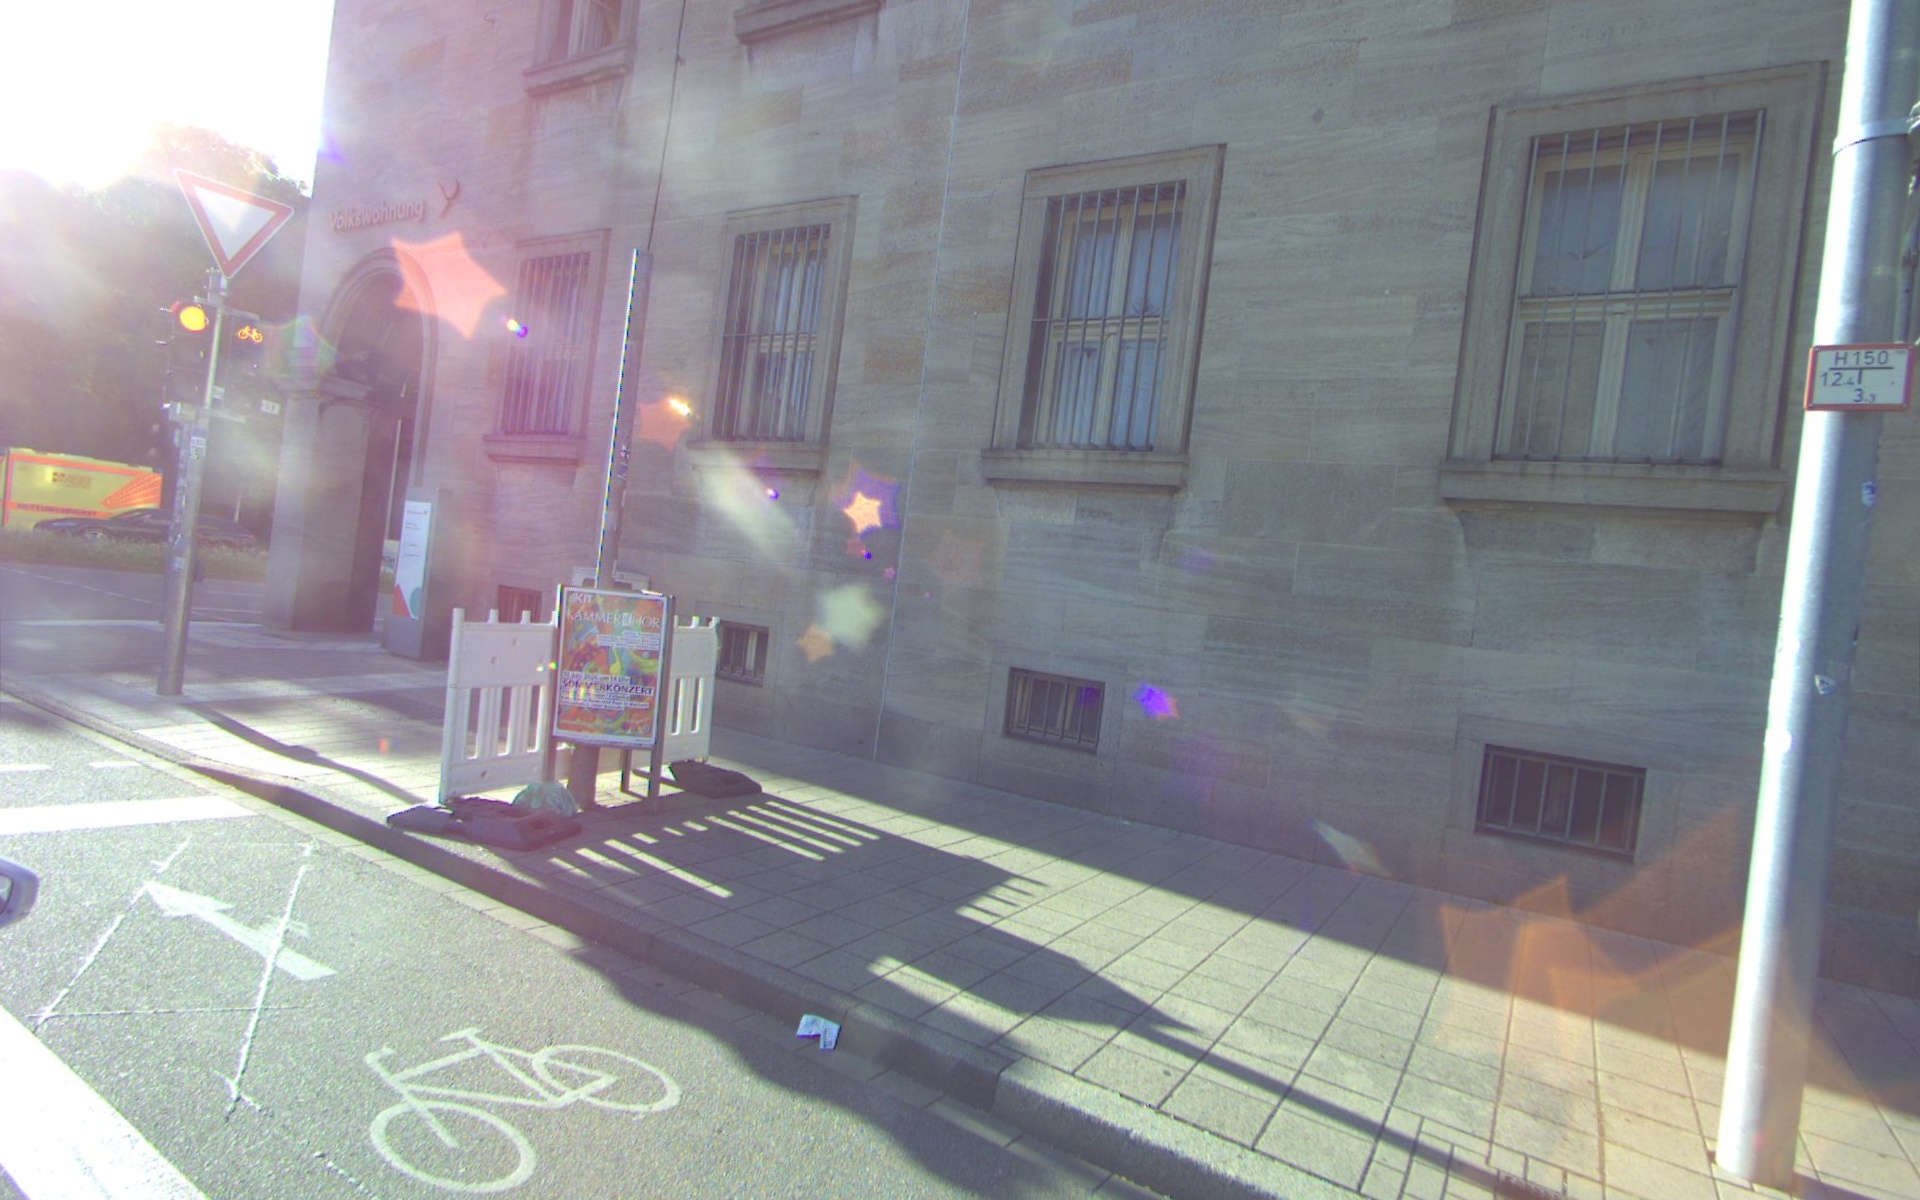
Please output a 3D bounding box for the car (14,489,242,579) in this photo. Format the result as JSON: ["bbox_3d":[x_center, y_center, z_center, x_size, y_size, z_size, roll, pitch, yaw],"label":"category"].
[{"bbox_3d":[-22.621,-1.738,27.536,1.857,1.665,4.324,6,-3,32],"label":"car"}]

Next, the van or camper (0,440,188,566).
[{"bbox_3d":[-27.650,-3.025,29.910,2.866,2.893,6.716,6,-3,36],"label":"van or camper"}]
